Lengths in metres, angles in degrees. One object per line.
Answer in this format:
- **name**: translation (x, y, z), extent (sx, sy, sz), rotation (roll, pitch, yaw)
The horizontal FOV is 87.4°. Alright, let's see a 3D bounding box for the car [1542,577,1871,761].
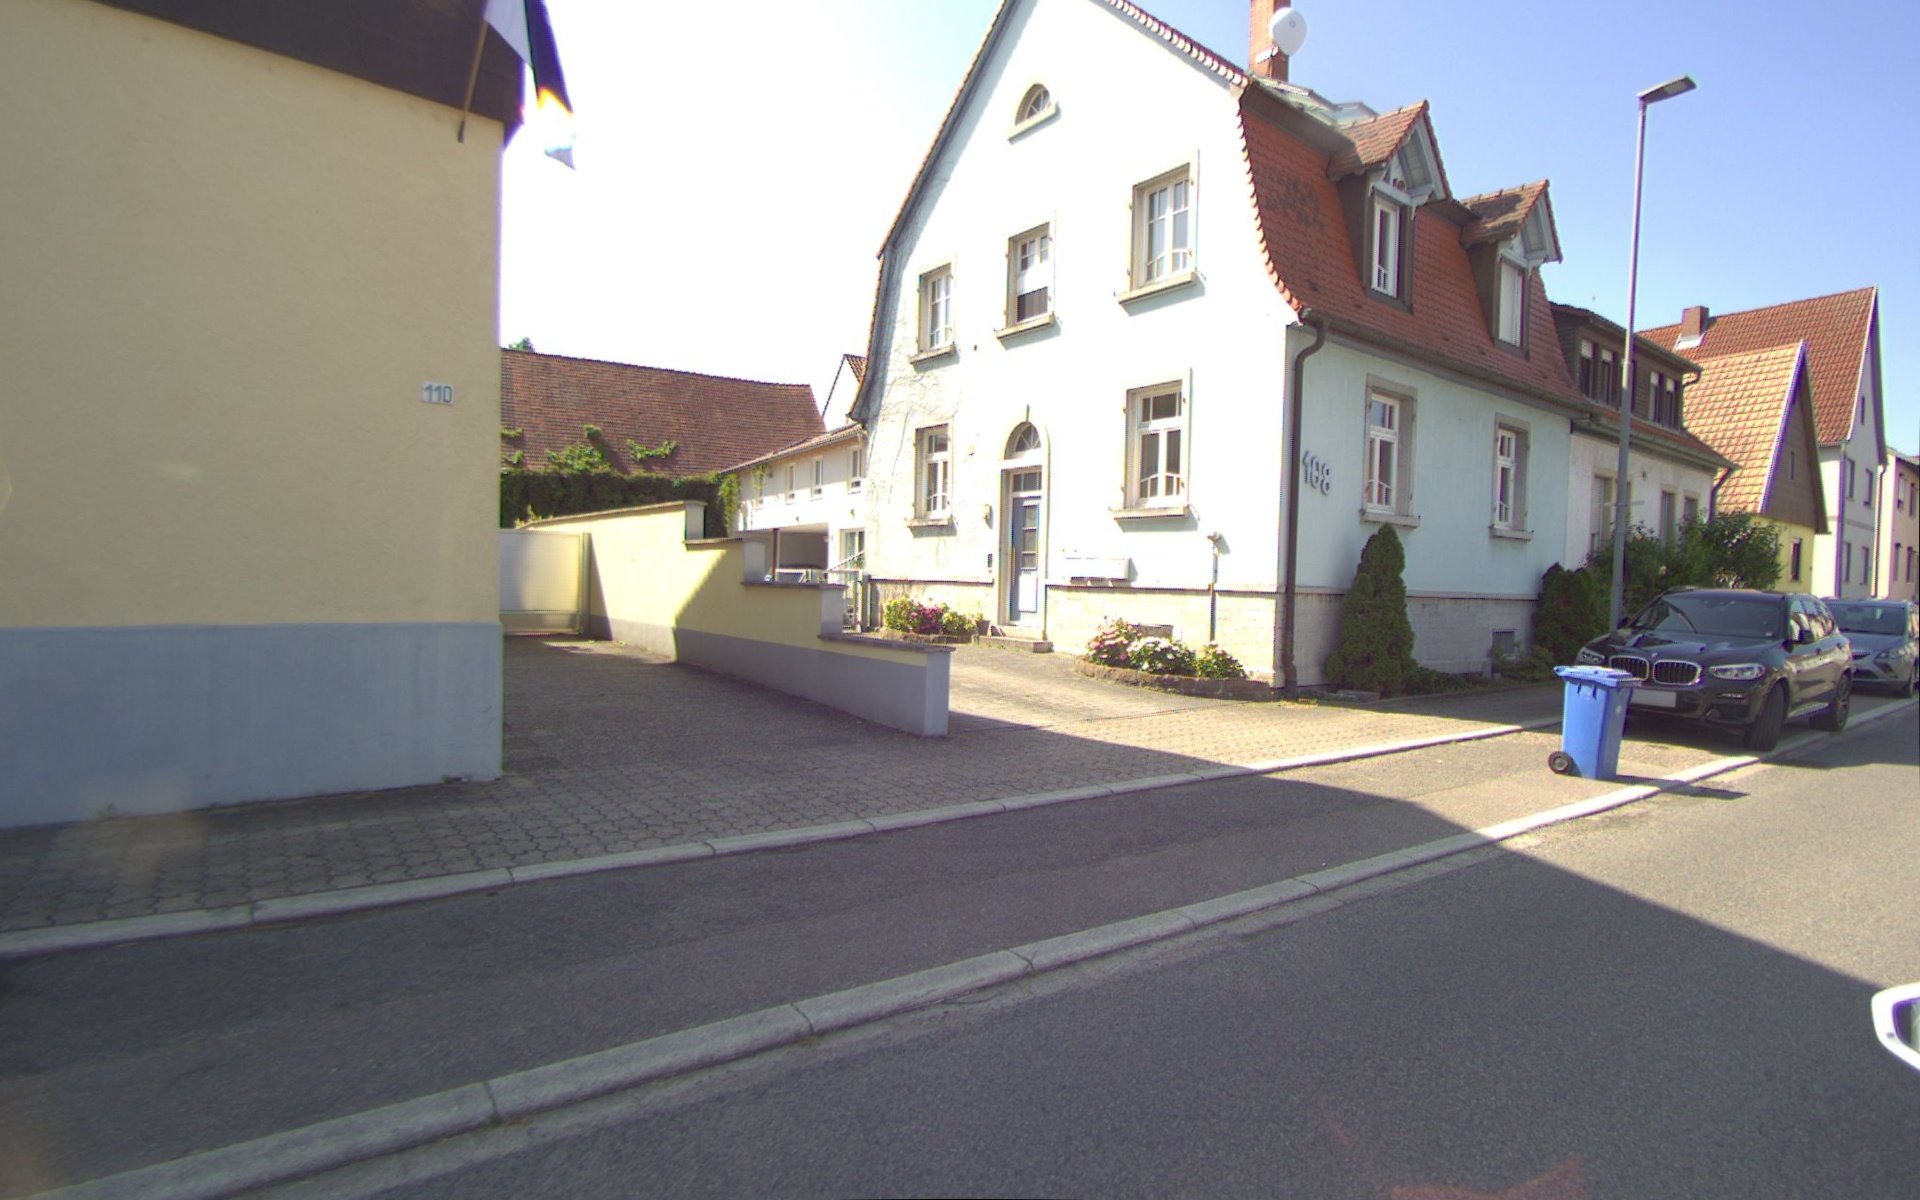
- **car**: translation (8.948, 0.689, 11.891), extent (4.624, 1.690, 1.905), rotation (1, 3, -38)

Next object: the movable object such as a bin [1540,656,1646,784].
- **movable object such as a bin**: translation (5.480, 1.014, 8.705), extent (0.526, 0.995, 0.592), rotation (1, 3, -39)

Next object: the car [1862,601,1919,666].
- **car**: translation (24.895, 0.859, 26.218), extent (2.963, 1.565, 1.539), rotation (1, 2, -40)

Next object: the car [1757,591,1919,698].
- **car**: translation (16.324, 0.730, 18.321), extent (4.625, 1.659, 1.857), rotation (1, 2, -40)
